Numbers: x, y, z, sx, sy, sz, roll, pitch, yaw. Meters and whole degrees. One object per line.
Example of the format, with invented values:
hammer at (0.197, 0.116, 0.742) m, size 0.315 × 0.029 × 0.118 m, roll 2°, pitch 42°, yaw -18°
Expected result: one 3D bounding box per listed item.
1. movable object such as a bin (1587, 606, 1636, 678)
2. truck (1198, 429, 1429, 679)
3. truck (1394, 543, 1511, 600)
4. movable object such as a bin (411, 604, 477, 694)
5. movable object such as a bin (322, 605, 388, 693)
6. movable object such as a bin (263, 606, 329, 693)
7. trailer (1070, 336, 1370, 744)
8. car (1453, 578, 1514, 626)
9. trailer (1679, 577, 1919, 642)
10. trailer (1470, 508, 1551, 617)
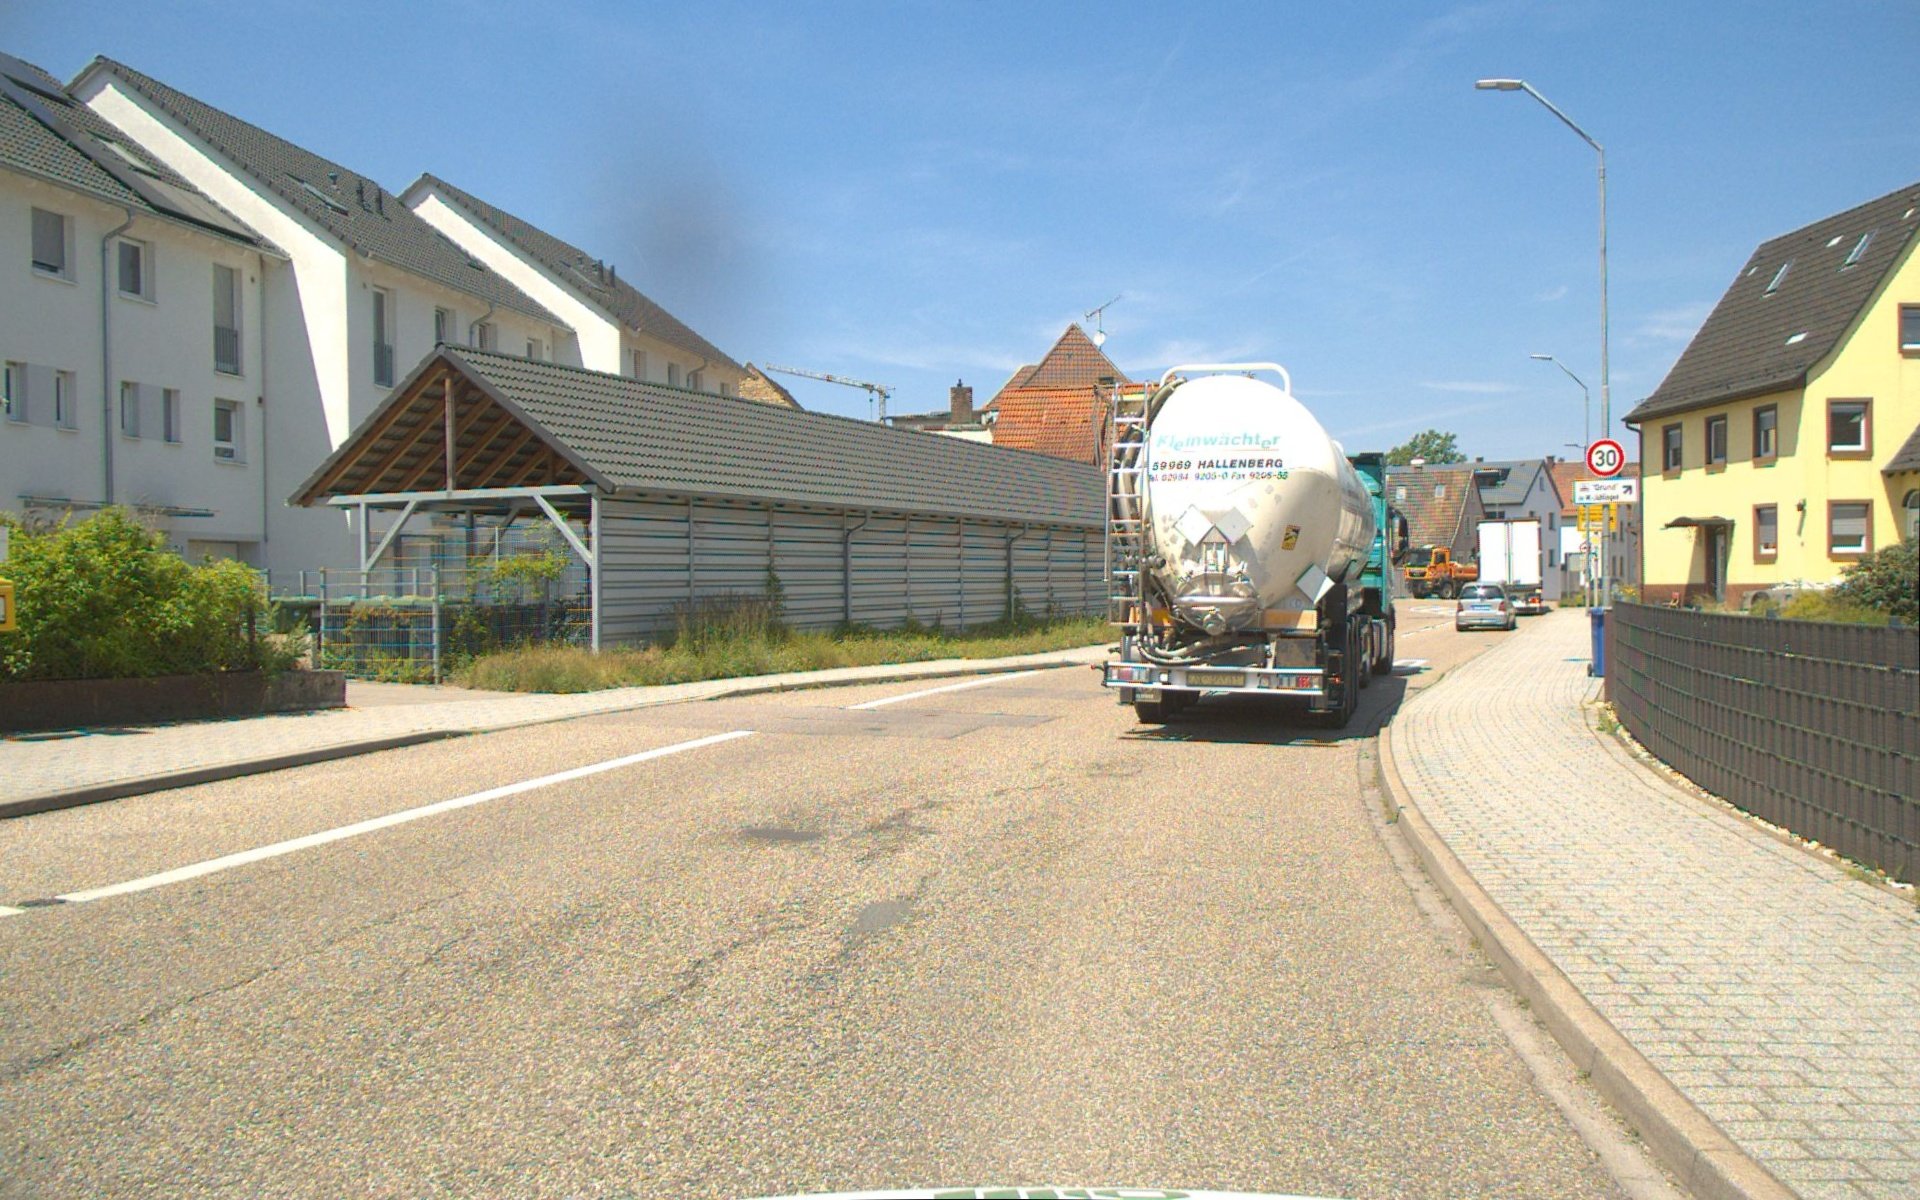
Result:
movable object such as a bin at (10.062, 0.641, 25.558) m, size 0.553 × 1.076 × 0.651 m, roll -1°, pitch 0°, yaw 7°
truck at (6.516, -0.756, 29.875) m, size 2.928 × 4.034 × 5.576 m, roll -1°, pitch 0°, yaw 24°
truck at (29.925, -1.703, 100.411) m, size 7.367 × 3.237 × 2.640 m, roll 1°, pitch -1°, yaw -33°
movable object such as a bin at (-7.614, 0.714, 24.418) m, size 0.627 × 1.301 × 0.694 m, roll 0°, pitch 0°, yaw 22°
movable object such as a bin at (-9.133, 0.732, 24.987) m, size 0.627 × 1.301 × 0.694 m, roll 0°, pitch 0°, yaw 22°
movable object such as a bin at (-10.144, 0.743, 25.288) m, size 0.627 × 1.301 × 0.694 m, roll 0°, pitch 0°, yaw 22°
trailer at (3.972, -0.639, 22.246) m, size 2.890 × 4.017 × 11.628 m, roll 0°, pitch 0°, yaw 14°
car at (16.889, 0.051, 53.446) m, size 1.803 × 1.512 × 4.002 m, roll 0°, pitch 0°, yaw 17°
trailer at (20.937, 0.234, 41.136) m, size 5.244 × 1.573 × 2.136 m, roll 0°, pitch 0°, yaw -7°
trailer at (24.226, -1.561, 73.311) m, size 3.066 × 4.352 × 12.502 m, roll -1°, pitch 0°, yaw 17°
